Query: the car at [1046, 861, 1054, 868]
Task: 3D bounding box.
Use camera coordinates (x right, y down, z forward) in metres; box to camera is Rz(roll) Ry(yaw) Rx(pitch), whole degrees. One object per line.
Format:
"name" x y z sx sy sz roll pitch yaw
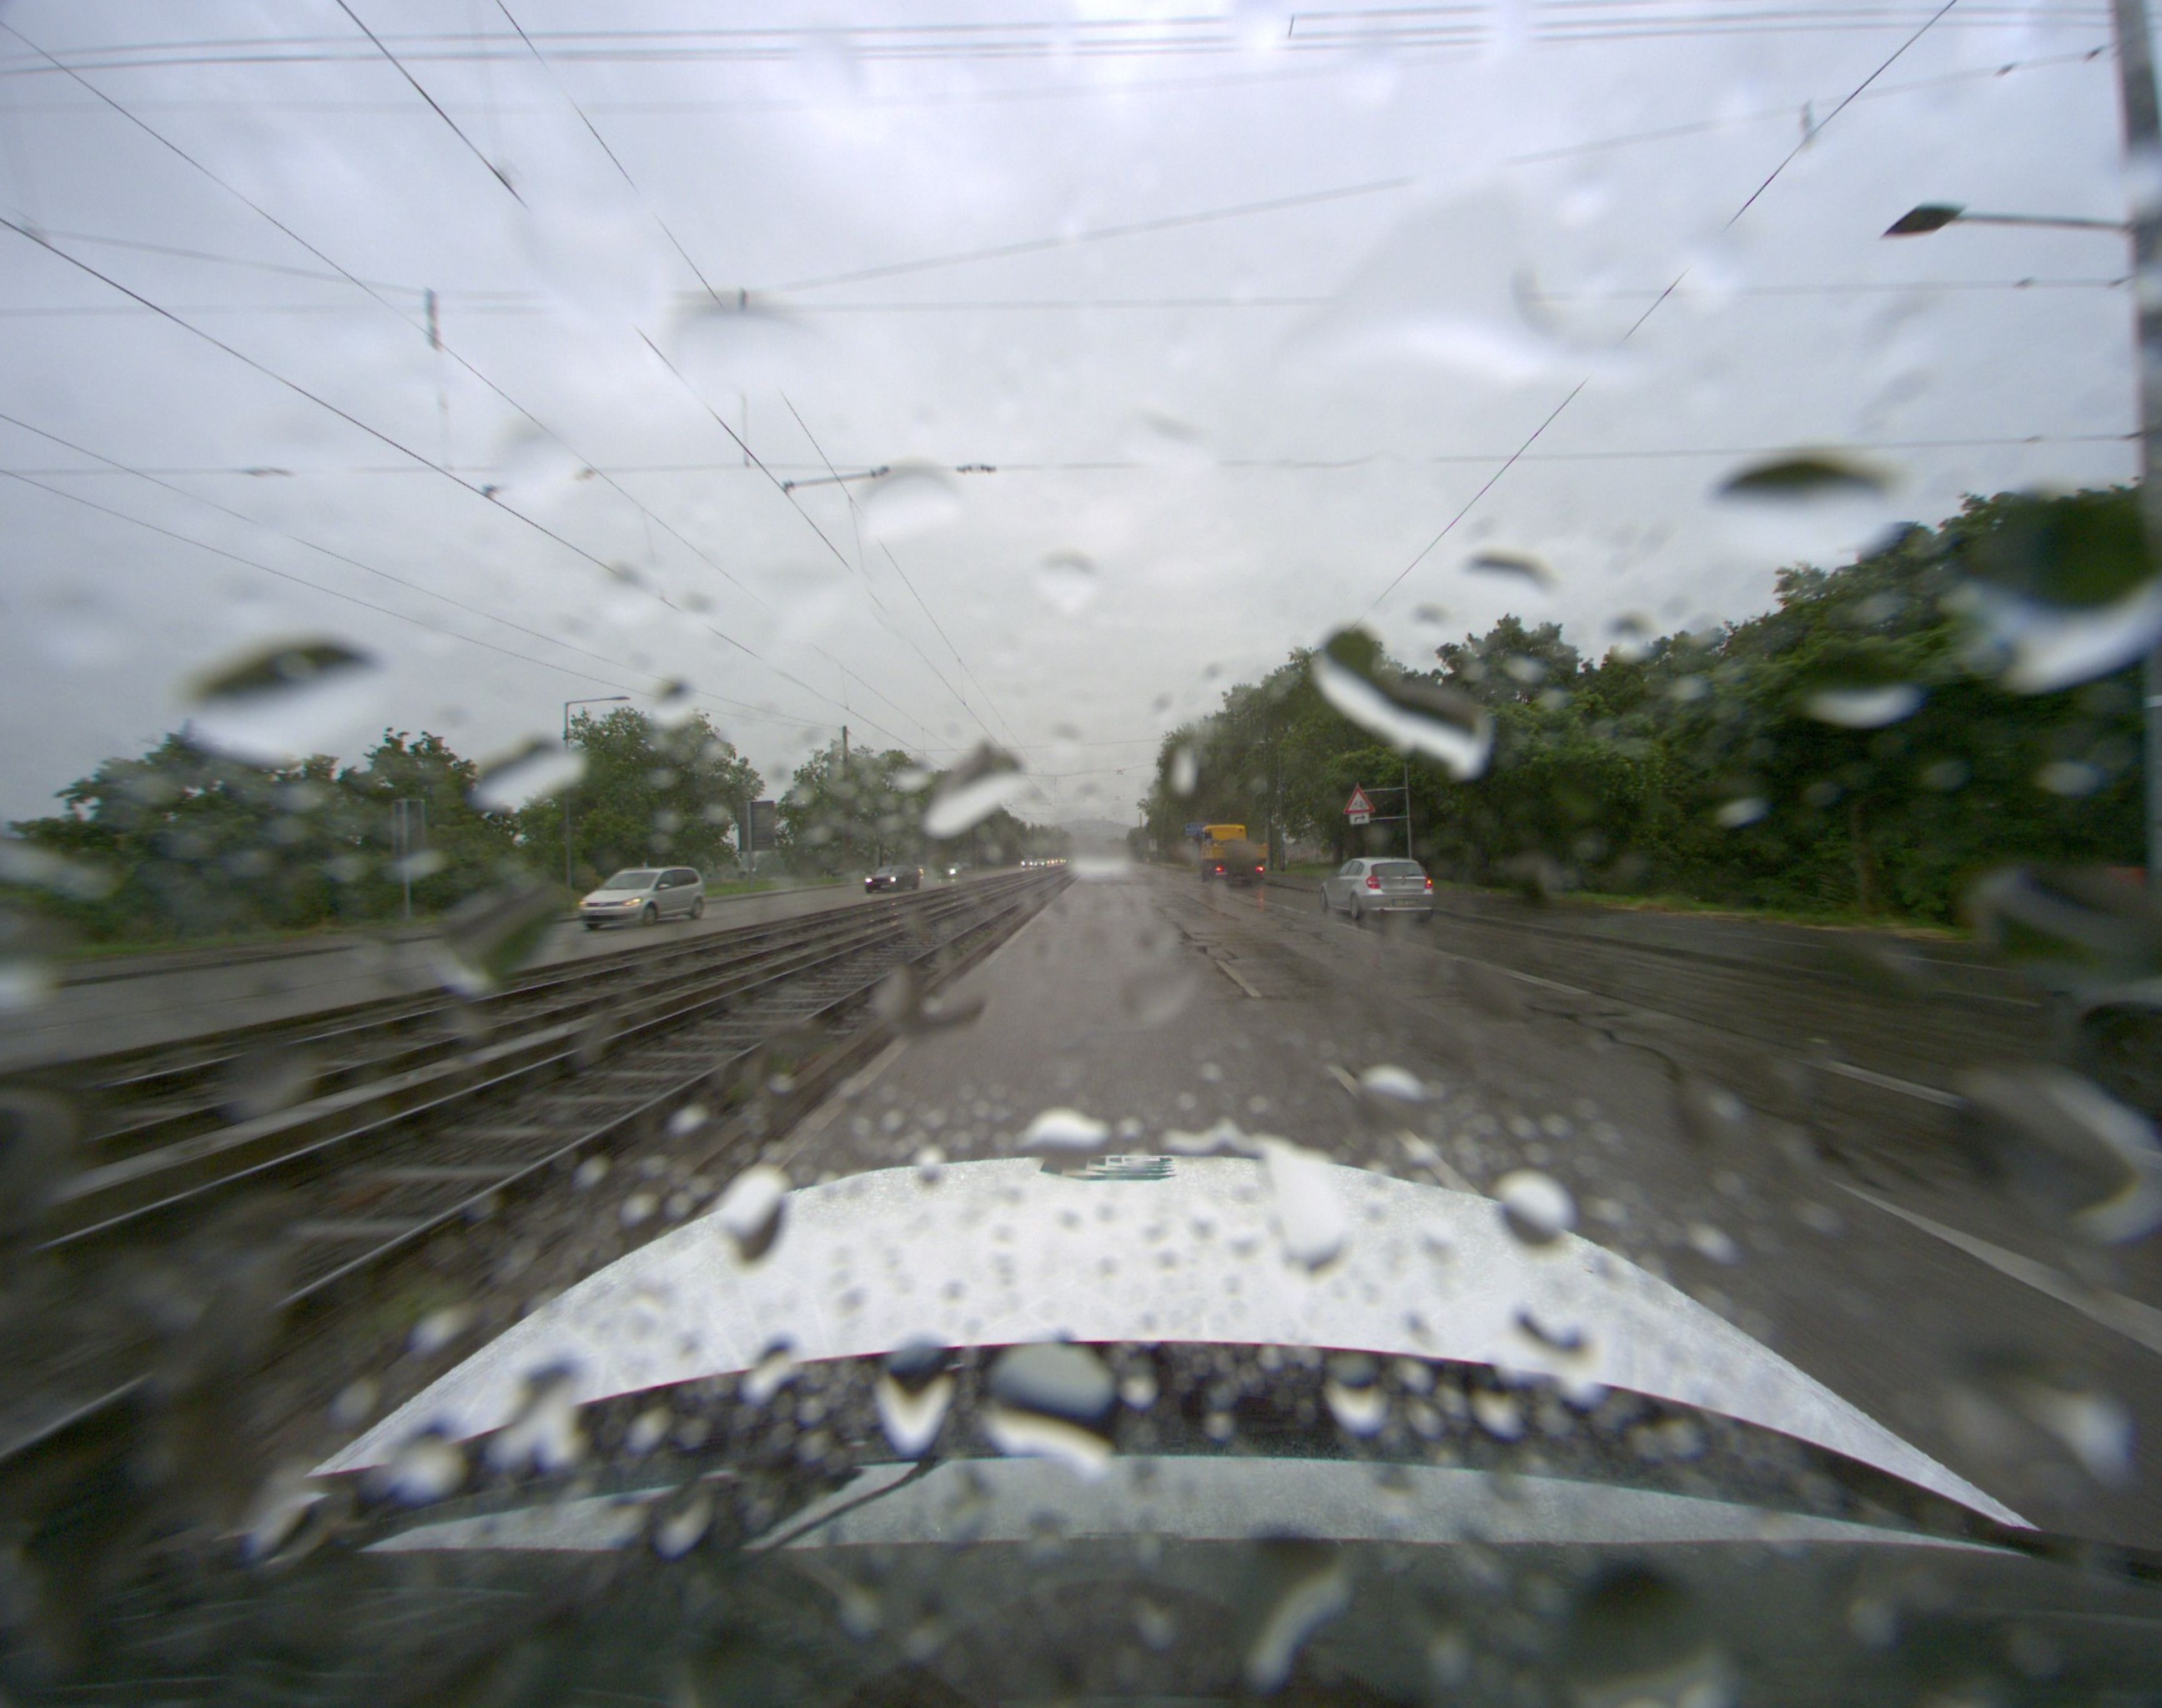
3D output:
"car" -8.408 2.790 218.220 1.813 1.706 5.022 0 1 1

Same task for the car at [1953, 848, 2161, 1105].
"car" 6.632 0.669 3.245 1.880 1.357 4.280 0 1 3

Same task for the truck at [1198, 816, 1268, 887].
"truck" 7.510 -0.172 41.014 2.545 3.257 6.938 0 1 3

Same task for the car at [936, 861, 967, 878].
"car" -11.516 1.338 72.641 1.751 1.362 5.073 0 1 2

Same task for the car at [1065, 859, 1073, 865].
"car" -3.279 2.191 225.255 1.782 1.549 5.321 0 1 5

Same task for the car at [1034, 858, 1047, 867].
"car" -6.633 1.391 134.890 1.735 1.354 4.548 0 1 2

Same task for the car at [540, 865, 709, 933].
"car" -12.689 1.172 23.122 1.836 1.574 5.068 0 1 1

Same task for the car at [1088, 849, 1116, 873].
"car" 1.579 0.474 59.693 1.981 1.684 3.743 0 1 3

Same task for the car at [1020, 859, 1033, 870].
"car" -9.434 1.730 140.579 1.881 1.809 5.004 0 1 0

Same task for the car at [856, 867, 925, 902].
"car" -10.119 1.589 43.707 1.984 1.464 5.258 -3 0 5

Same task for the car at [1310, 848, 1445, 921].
"car" 6.896 0.622 19.472 1.621 1.503 4.607 0 1 1

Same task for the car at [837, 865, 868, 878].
"car" -30.105 2.280 107.190 4.591 1.686 1.858 0 1 43
